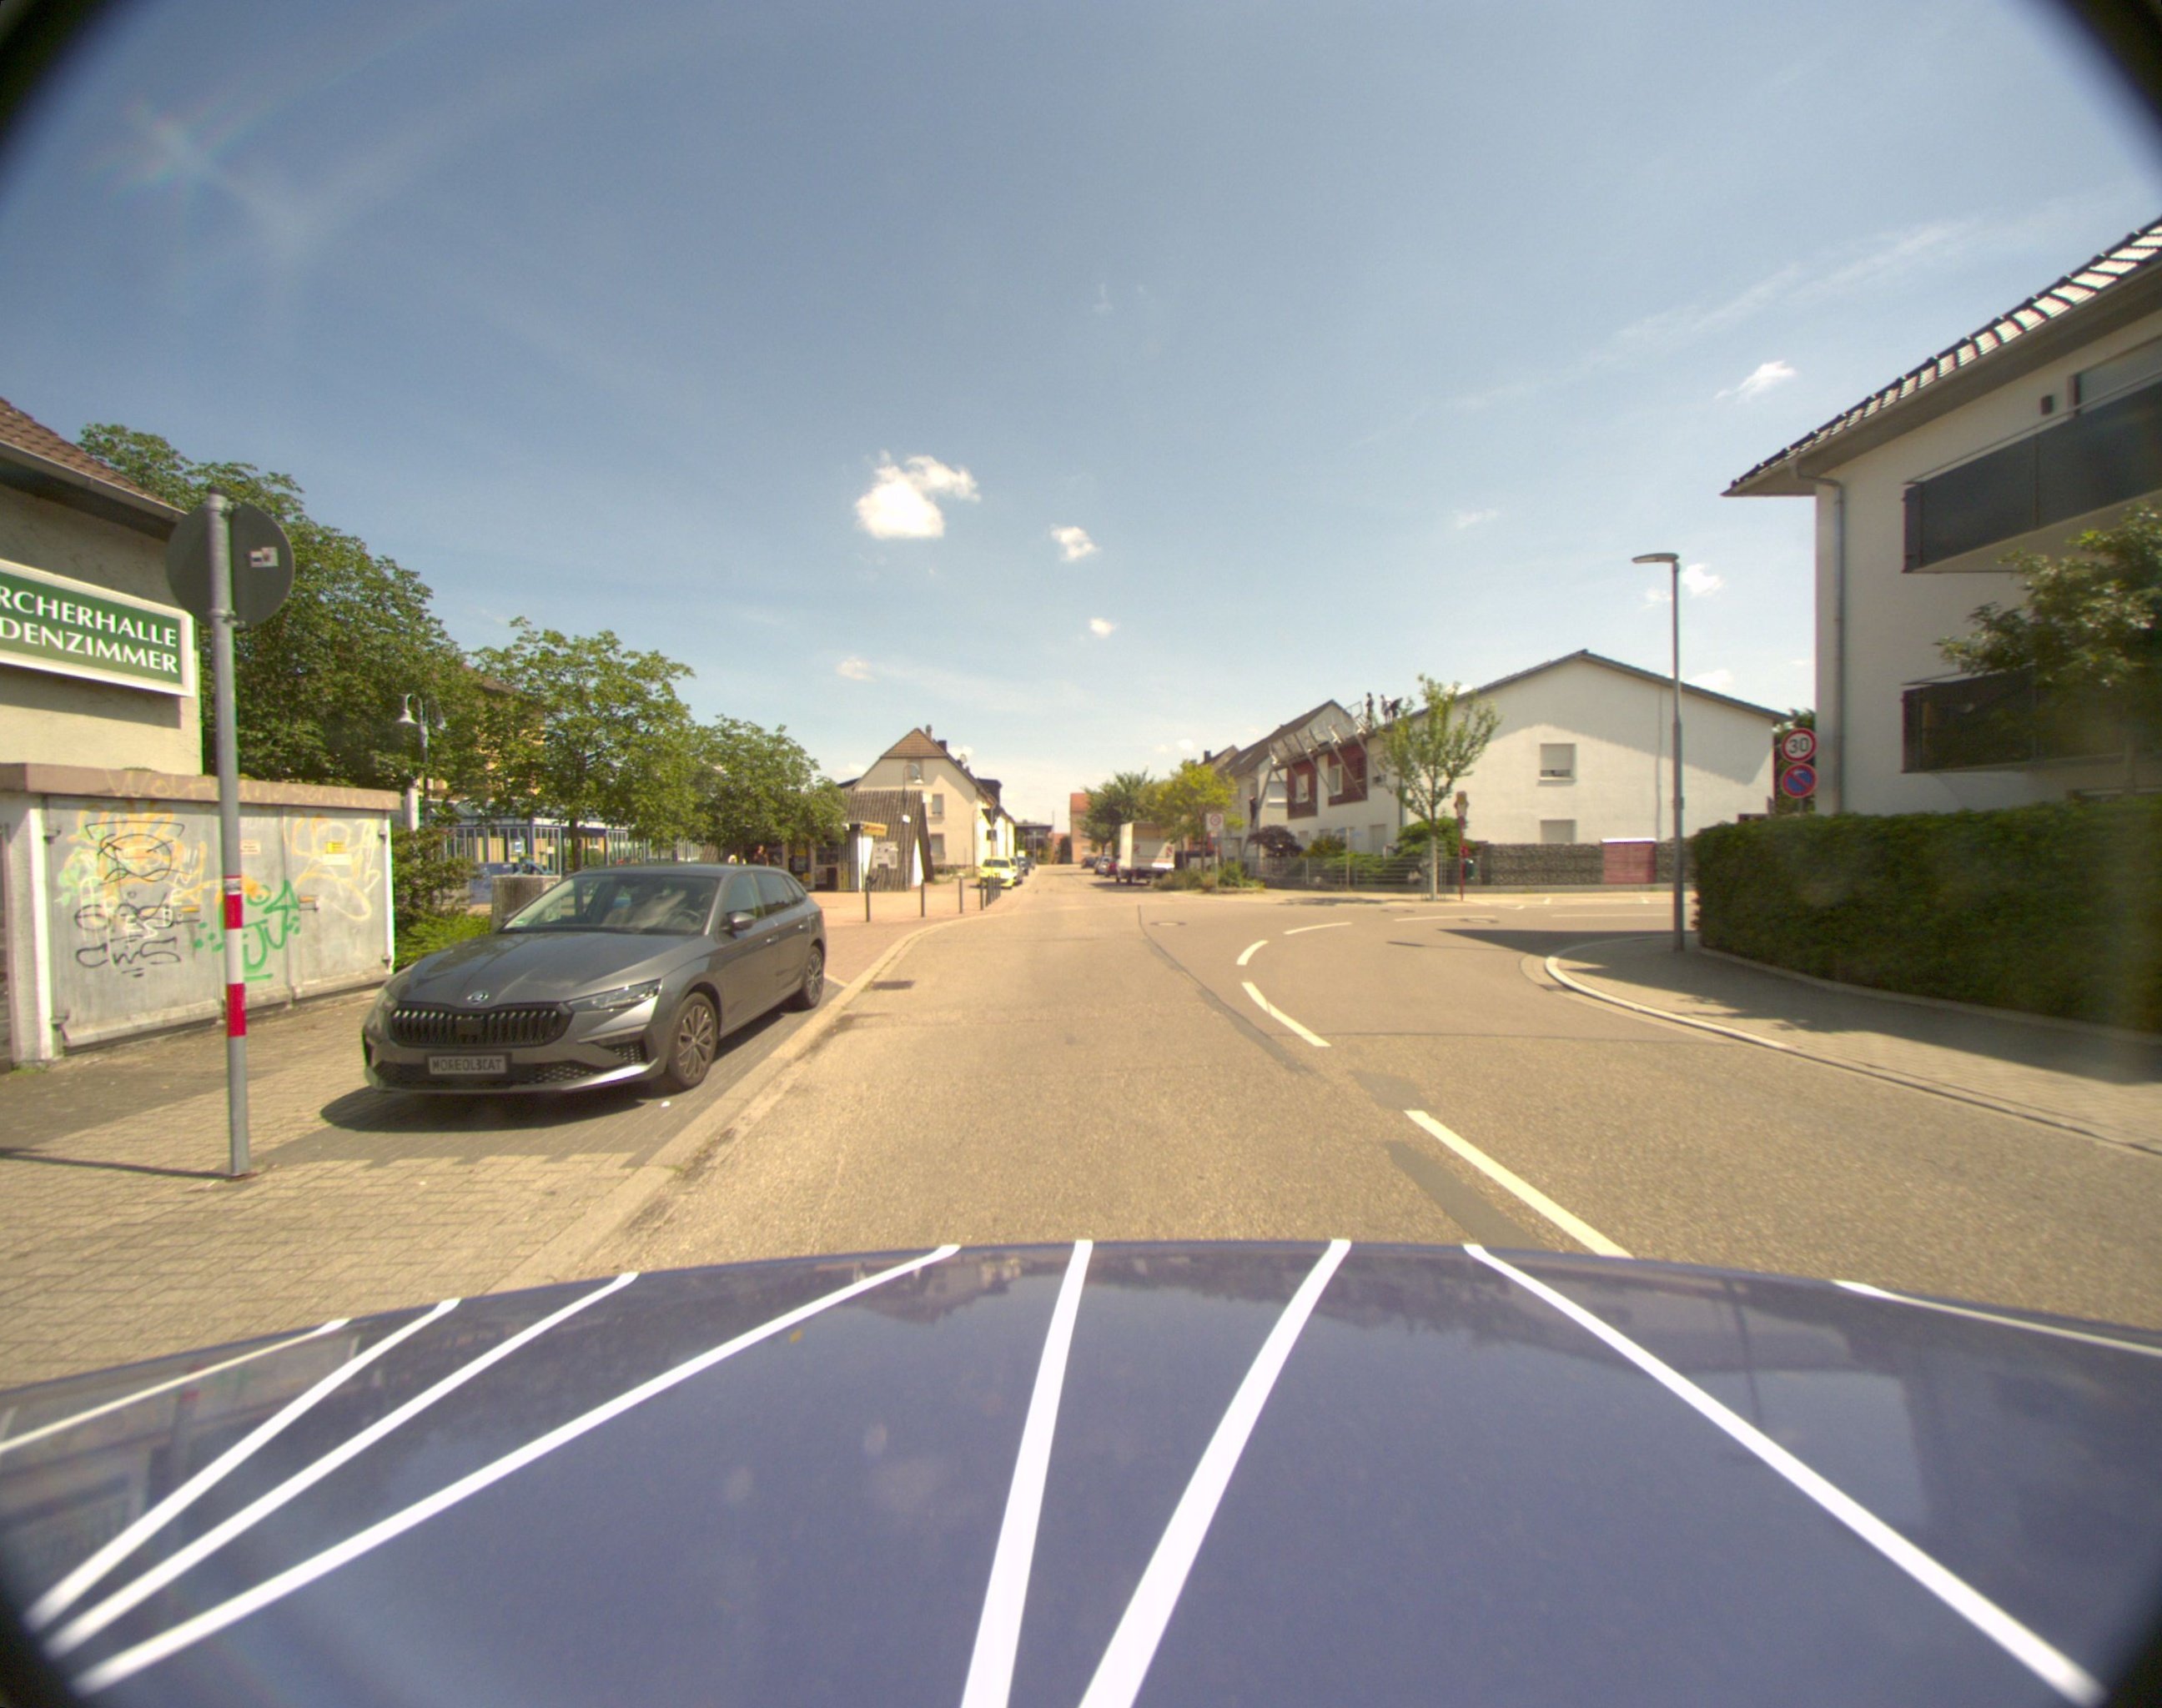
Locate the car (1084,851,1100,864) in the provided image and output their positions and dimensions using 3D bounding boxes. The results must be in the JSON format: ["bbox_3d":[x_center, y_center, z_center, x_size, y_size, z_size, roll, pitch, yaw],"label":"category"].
[{"bbox_3d":[1.293,0.367,91.564,1.721,1.491,4.214,1,0,-3],"label":"car"}]

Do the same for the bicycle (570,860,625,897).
[{"bbox_3d":[-18.882,0.921,29.720,0.605,1.343,2.352,0,0,0],"label":"bicycle"}]

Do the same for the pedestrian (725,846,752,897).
[{"bbox_3d":[-12.261,0.616,27.225,0.548,1.778,0.682,0,1,39],"label":"pedestrian"}]

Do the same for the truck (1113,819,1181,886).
[{"bbox_3d":[3.427,-0.085,41.148,2.445,3.227,7.033,2,0,-4],"label":"truck"}]

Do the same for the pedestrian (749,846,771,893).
[{"bbox_3d":[-11.770,0.551,27.864,0.463,1.710,0.599,0,1,39],"label":"pedestrian"}]

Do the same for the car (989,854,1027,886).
[{"bbox_3d":[-3.827,0.803,40.433,1.721,1.491,4.214,3,0,-2],"label":"car"}]

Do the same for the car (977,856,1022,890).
[{"bbox_3d":[-3.770,0.841,35.833,1.721,1.390,4.214,3,0,-2],"label":"car"}]

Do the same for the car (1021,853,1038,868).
[{"bbox_3d":[-5.774,0.704,85.390,1.721,1.491,4.214,3,0,-2],"label":"car"}]

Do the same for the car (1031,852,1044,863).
[{"bbox_3d":[-6.570,0.539,115.665,1.721,1.491,4.214,3,0,-2],"label":"car"}]

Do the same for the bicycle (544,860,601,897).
[{"bbox_3d":[-19.669,0.913,29.471,0.605,1.343,2.352,0,0,0],"label":"bicycle"}]

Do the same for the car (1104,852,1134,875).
[{"bbox_3d":[2.714,0.656,54.754,1.721,1.491,4.214,1,0,-3],"label":"car"}]

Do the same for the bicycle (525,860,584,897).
[{"bbox_3d":[-20.439,0.937,29.562,0.605,1.343,2.352,0,0,0],"label":"bicycle"}]

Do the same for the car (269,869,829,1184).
[{"bbox_3d":[-3.372,0.913,5.937,1.632,1.480,4.138,0,0,-3],"label":"car"}]

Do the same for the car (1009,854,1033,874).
[{"bbox_3d":[-4.928,0.817,63.014,1.721,1.491,4.214,3,0,-2],"label":"car"}]

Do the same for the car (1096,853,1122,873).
[{"bbox_3d":[2.206,0.722,61.325,1.721,1.491,4.214,1,0,-3],"label":"car"}]

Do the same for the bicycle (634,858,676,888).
[{"bbox_3d":[-19.889,0.866,35.506,0.605,1.343,2.352,0,0,0],"label":"bicycle"}]
